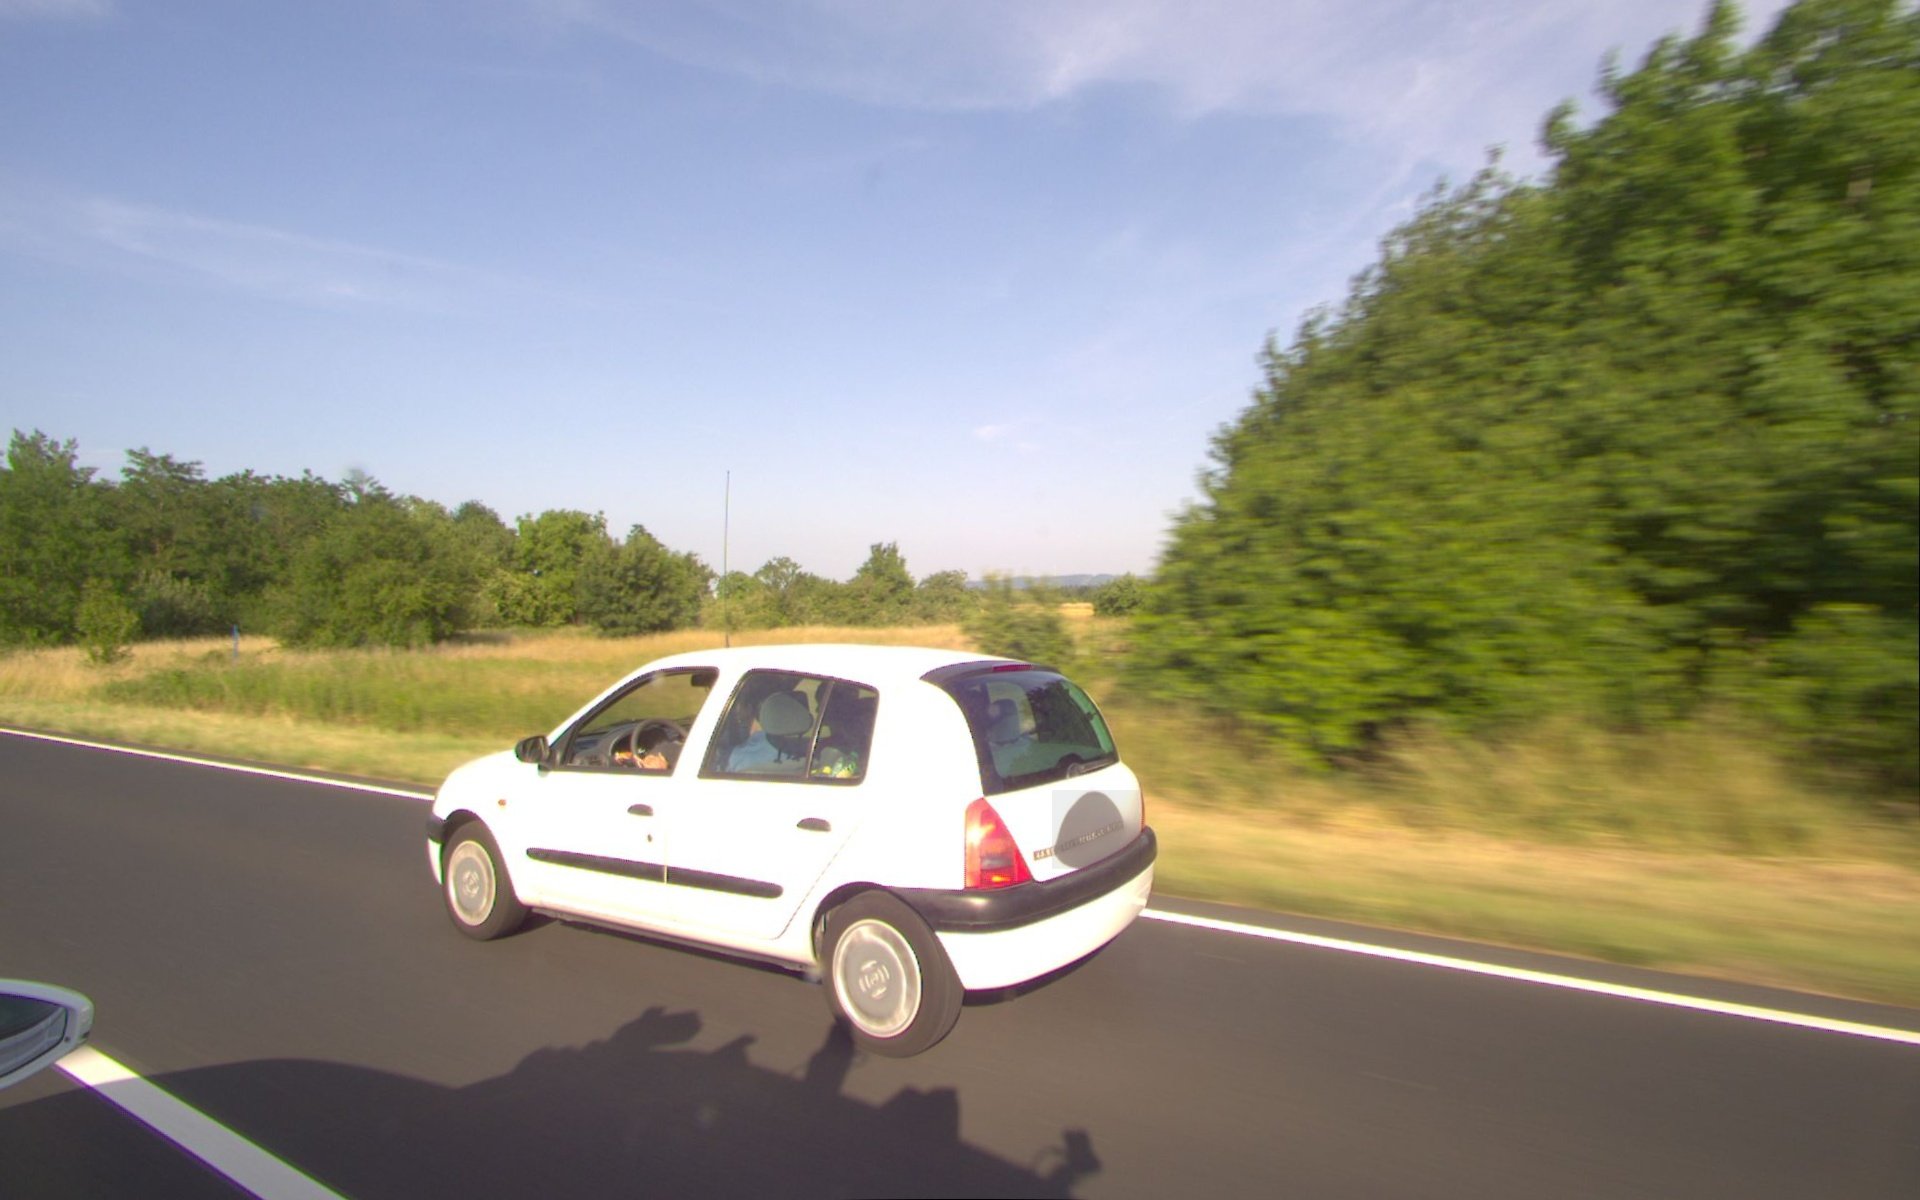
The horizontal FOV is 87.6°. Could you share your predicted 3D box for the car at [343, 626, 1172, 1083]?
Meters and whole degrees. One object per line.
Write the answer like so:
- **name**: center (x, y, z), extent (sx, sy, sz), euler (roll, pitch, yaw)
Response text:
- **car**: center (-1.126, 0.847, 4.824), extent (3.895, 1.405, 1.614), euler (-1, -2, 32)
